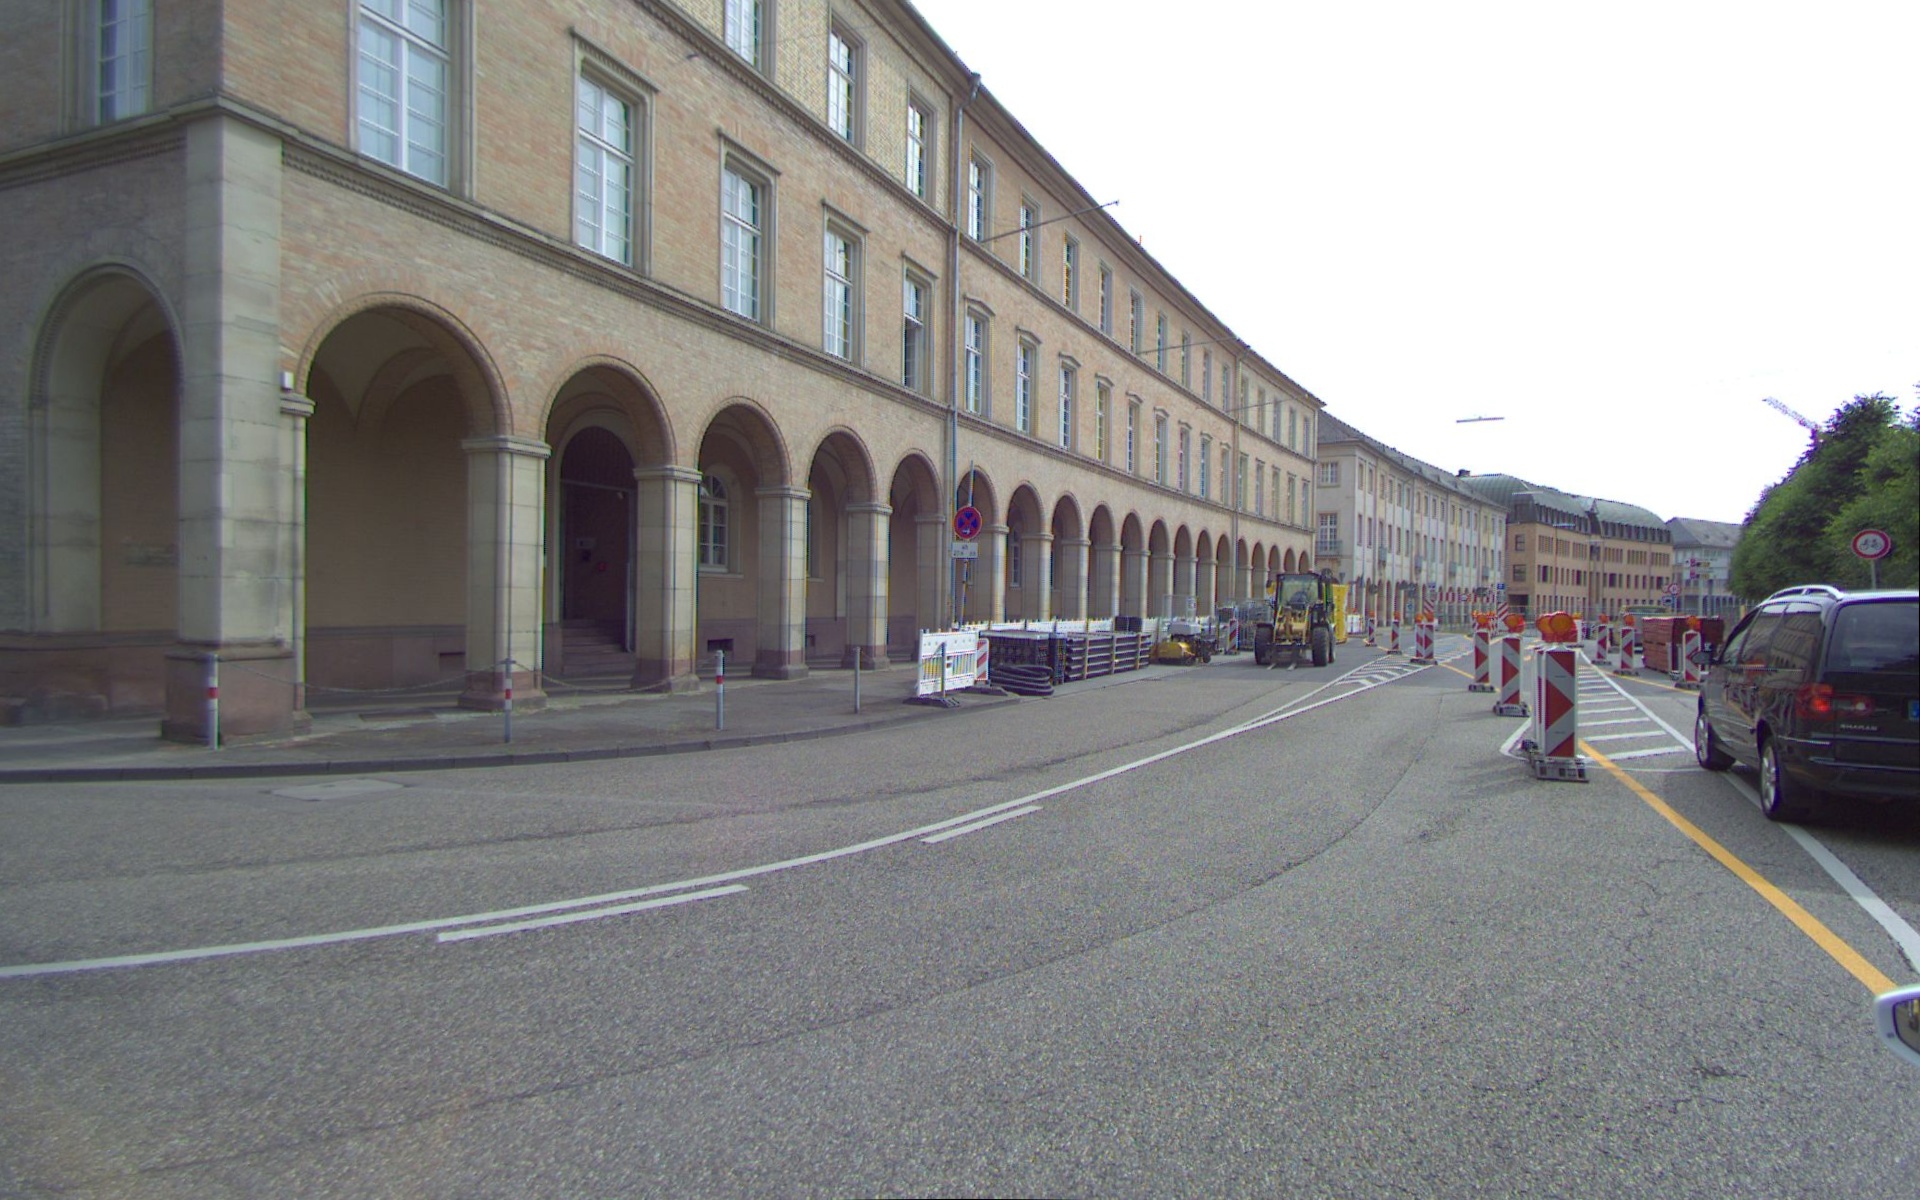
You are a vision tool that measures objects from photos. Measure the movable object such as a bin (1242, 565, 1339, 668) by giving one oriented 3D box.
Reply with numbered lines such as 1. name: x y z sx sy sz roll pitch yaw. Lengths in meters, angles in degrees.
1. movable object such as a bin: 9.805 0.464 29.594 2.083 2.754 4.614 1 0 26

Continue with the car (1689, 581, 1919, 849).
1. car: 7.371 0.758 8.199 1.767 1.731 4.124 1 0 29

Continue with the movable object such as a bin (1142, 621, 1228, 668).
1. movable object such as a bin: 6.541 1.247 29.011 1.780 1.140 2.743 1 2 28

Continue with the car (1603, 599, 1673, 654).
1. car: 28.680 1.062 42.605 1.963 2.041 4.337 1 2 28
